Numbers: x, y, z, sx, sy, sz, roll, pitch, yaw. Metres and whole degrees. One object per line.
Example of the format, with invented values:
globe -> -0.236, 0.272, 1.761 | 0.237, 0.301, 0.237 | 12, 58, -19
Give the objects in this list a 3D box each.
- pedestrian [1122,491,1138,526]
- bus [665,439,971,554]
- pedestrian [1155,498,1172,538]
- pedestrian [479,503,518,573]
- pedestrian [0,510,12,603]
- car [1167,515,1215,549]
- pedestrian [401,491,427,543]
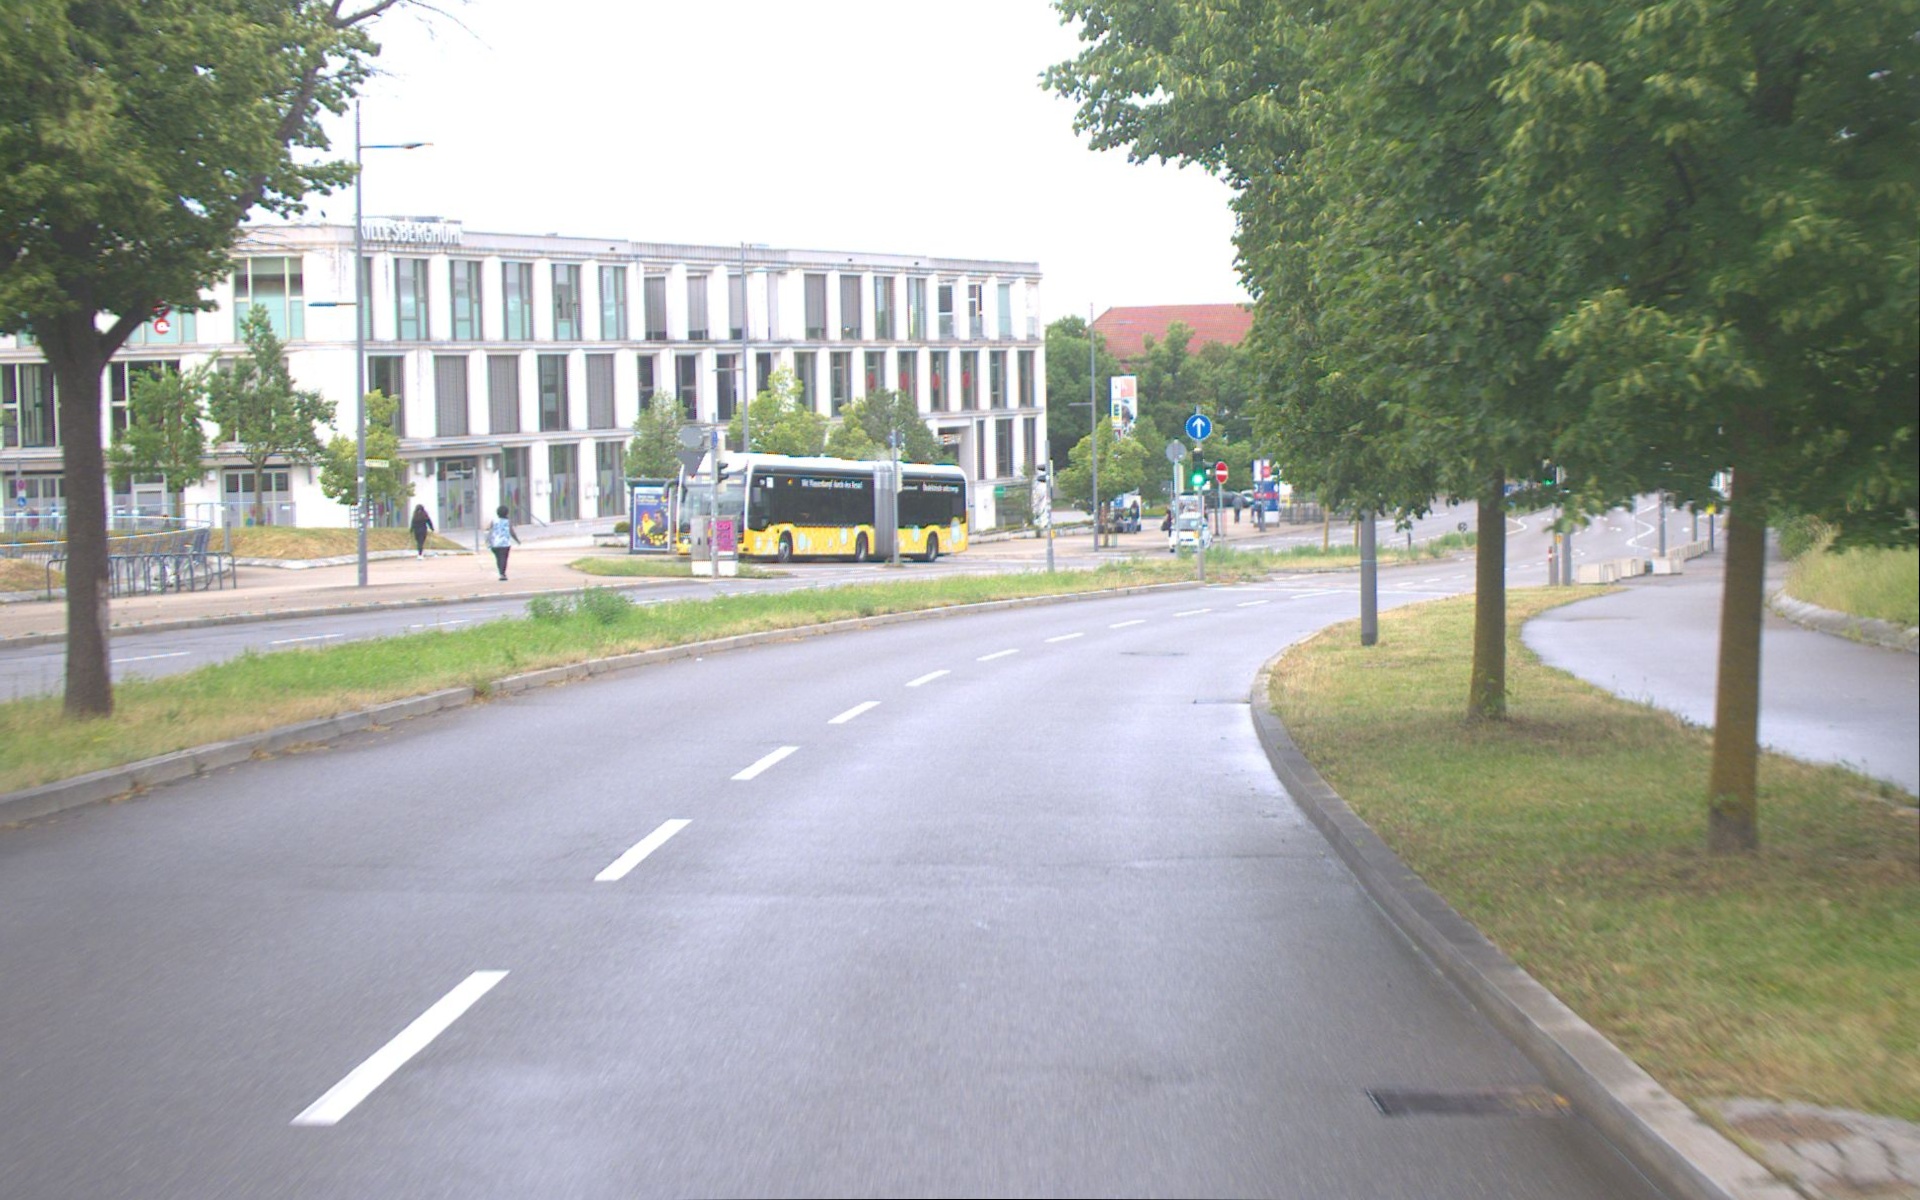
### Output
pedestrian -> 8.897, -4.778, 179.769 | 0.748, 1.846, 0.838 | 0, 0, -3
bus -> -4.325, -3.258, 113.281 | 2.788, 3.345, 18.205 | 0, 0, 22
pedestrian -> 9.981, -4.023, 168.962 | 0.748, 1.940, 0.838 | 0, 0, -3
pedestrian -> -10.361, -1.392, 77.189 | 0.834, 1.568, 0.719 | 0, 0, -9
pedestrian -> -17.078, -0.762, 59.837 | 0.814, 1.615, 0.935 | 0, 0, 8
car -> 10.298, -3.020, 153.261 | 1.480, 1.489, 2.528 | 0, 0, 20
pedestrian -> -15.997, -2.427, 100.677 | 0.682, 1.519, 0.719 | 0, 0, -3
